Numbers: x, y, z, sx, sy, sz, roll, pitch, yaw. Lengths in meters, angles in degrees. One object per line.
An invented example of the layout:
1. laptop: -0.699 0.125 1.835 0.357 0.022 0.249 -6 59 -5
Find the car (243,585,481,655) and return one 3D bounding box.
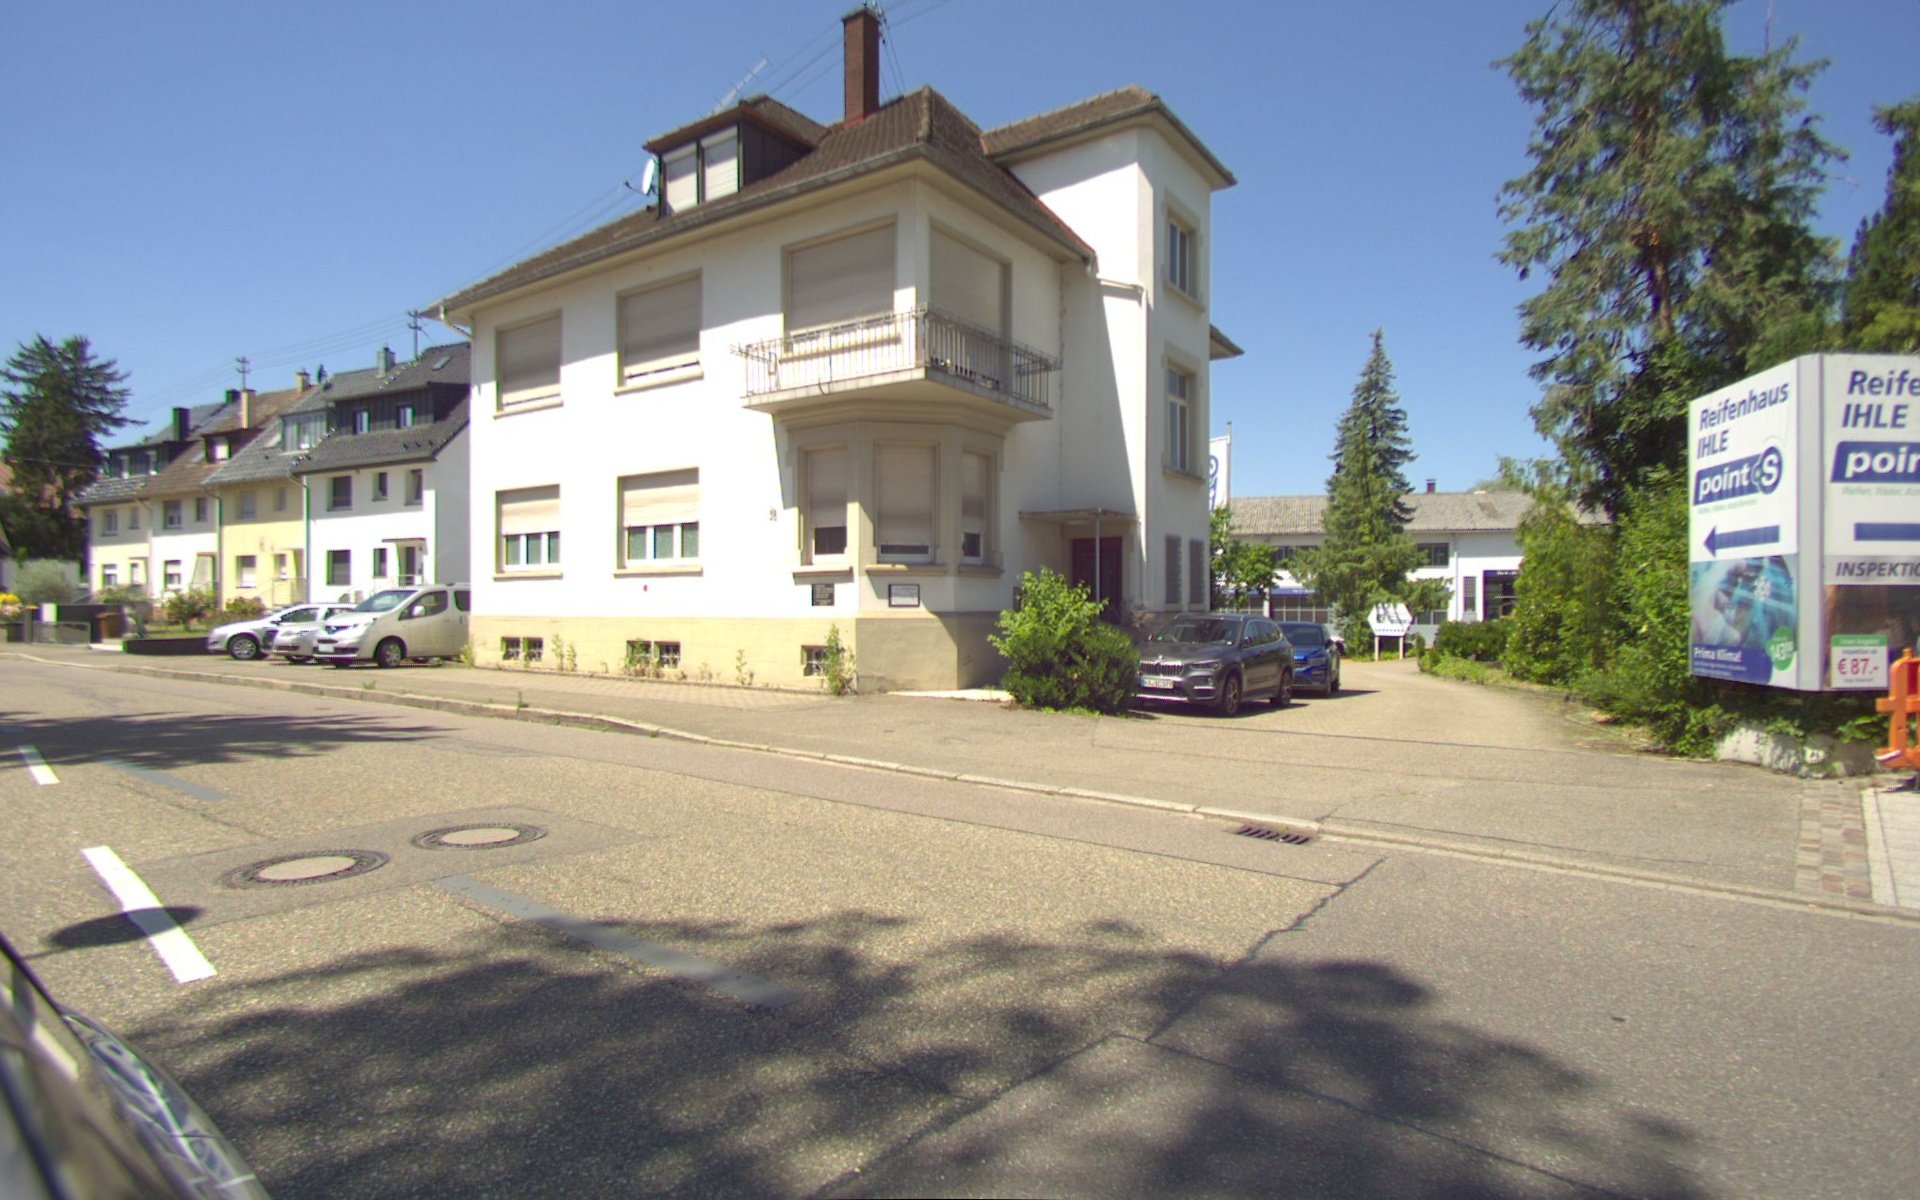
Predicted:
1. car: -14.066 0.509 24.051 1.972 1.507 4.431 -1 -2 36

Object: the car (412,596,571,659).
1. car: -14.199 0.850 30.907 3.937 1.741 2.003 2 -3 -7

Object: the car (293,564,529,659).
1. car: -12.090 0.310 22.614 1.841 1.891 4.324 0 -2 28

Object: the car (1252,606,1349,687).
1. car: 7.306 0.908 21.524 1.555 1.551 3.901 -1 -1 24

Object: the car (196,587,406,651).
1. car: -16.607 0.513 25.784 4.200 1.507 1.882 2 -2 -24

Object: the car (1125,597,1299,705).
1. car: 4.218 0.753 16.554 1.560 1.551 3.889 -1 -1 33
